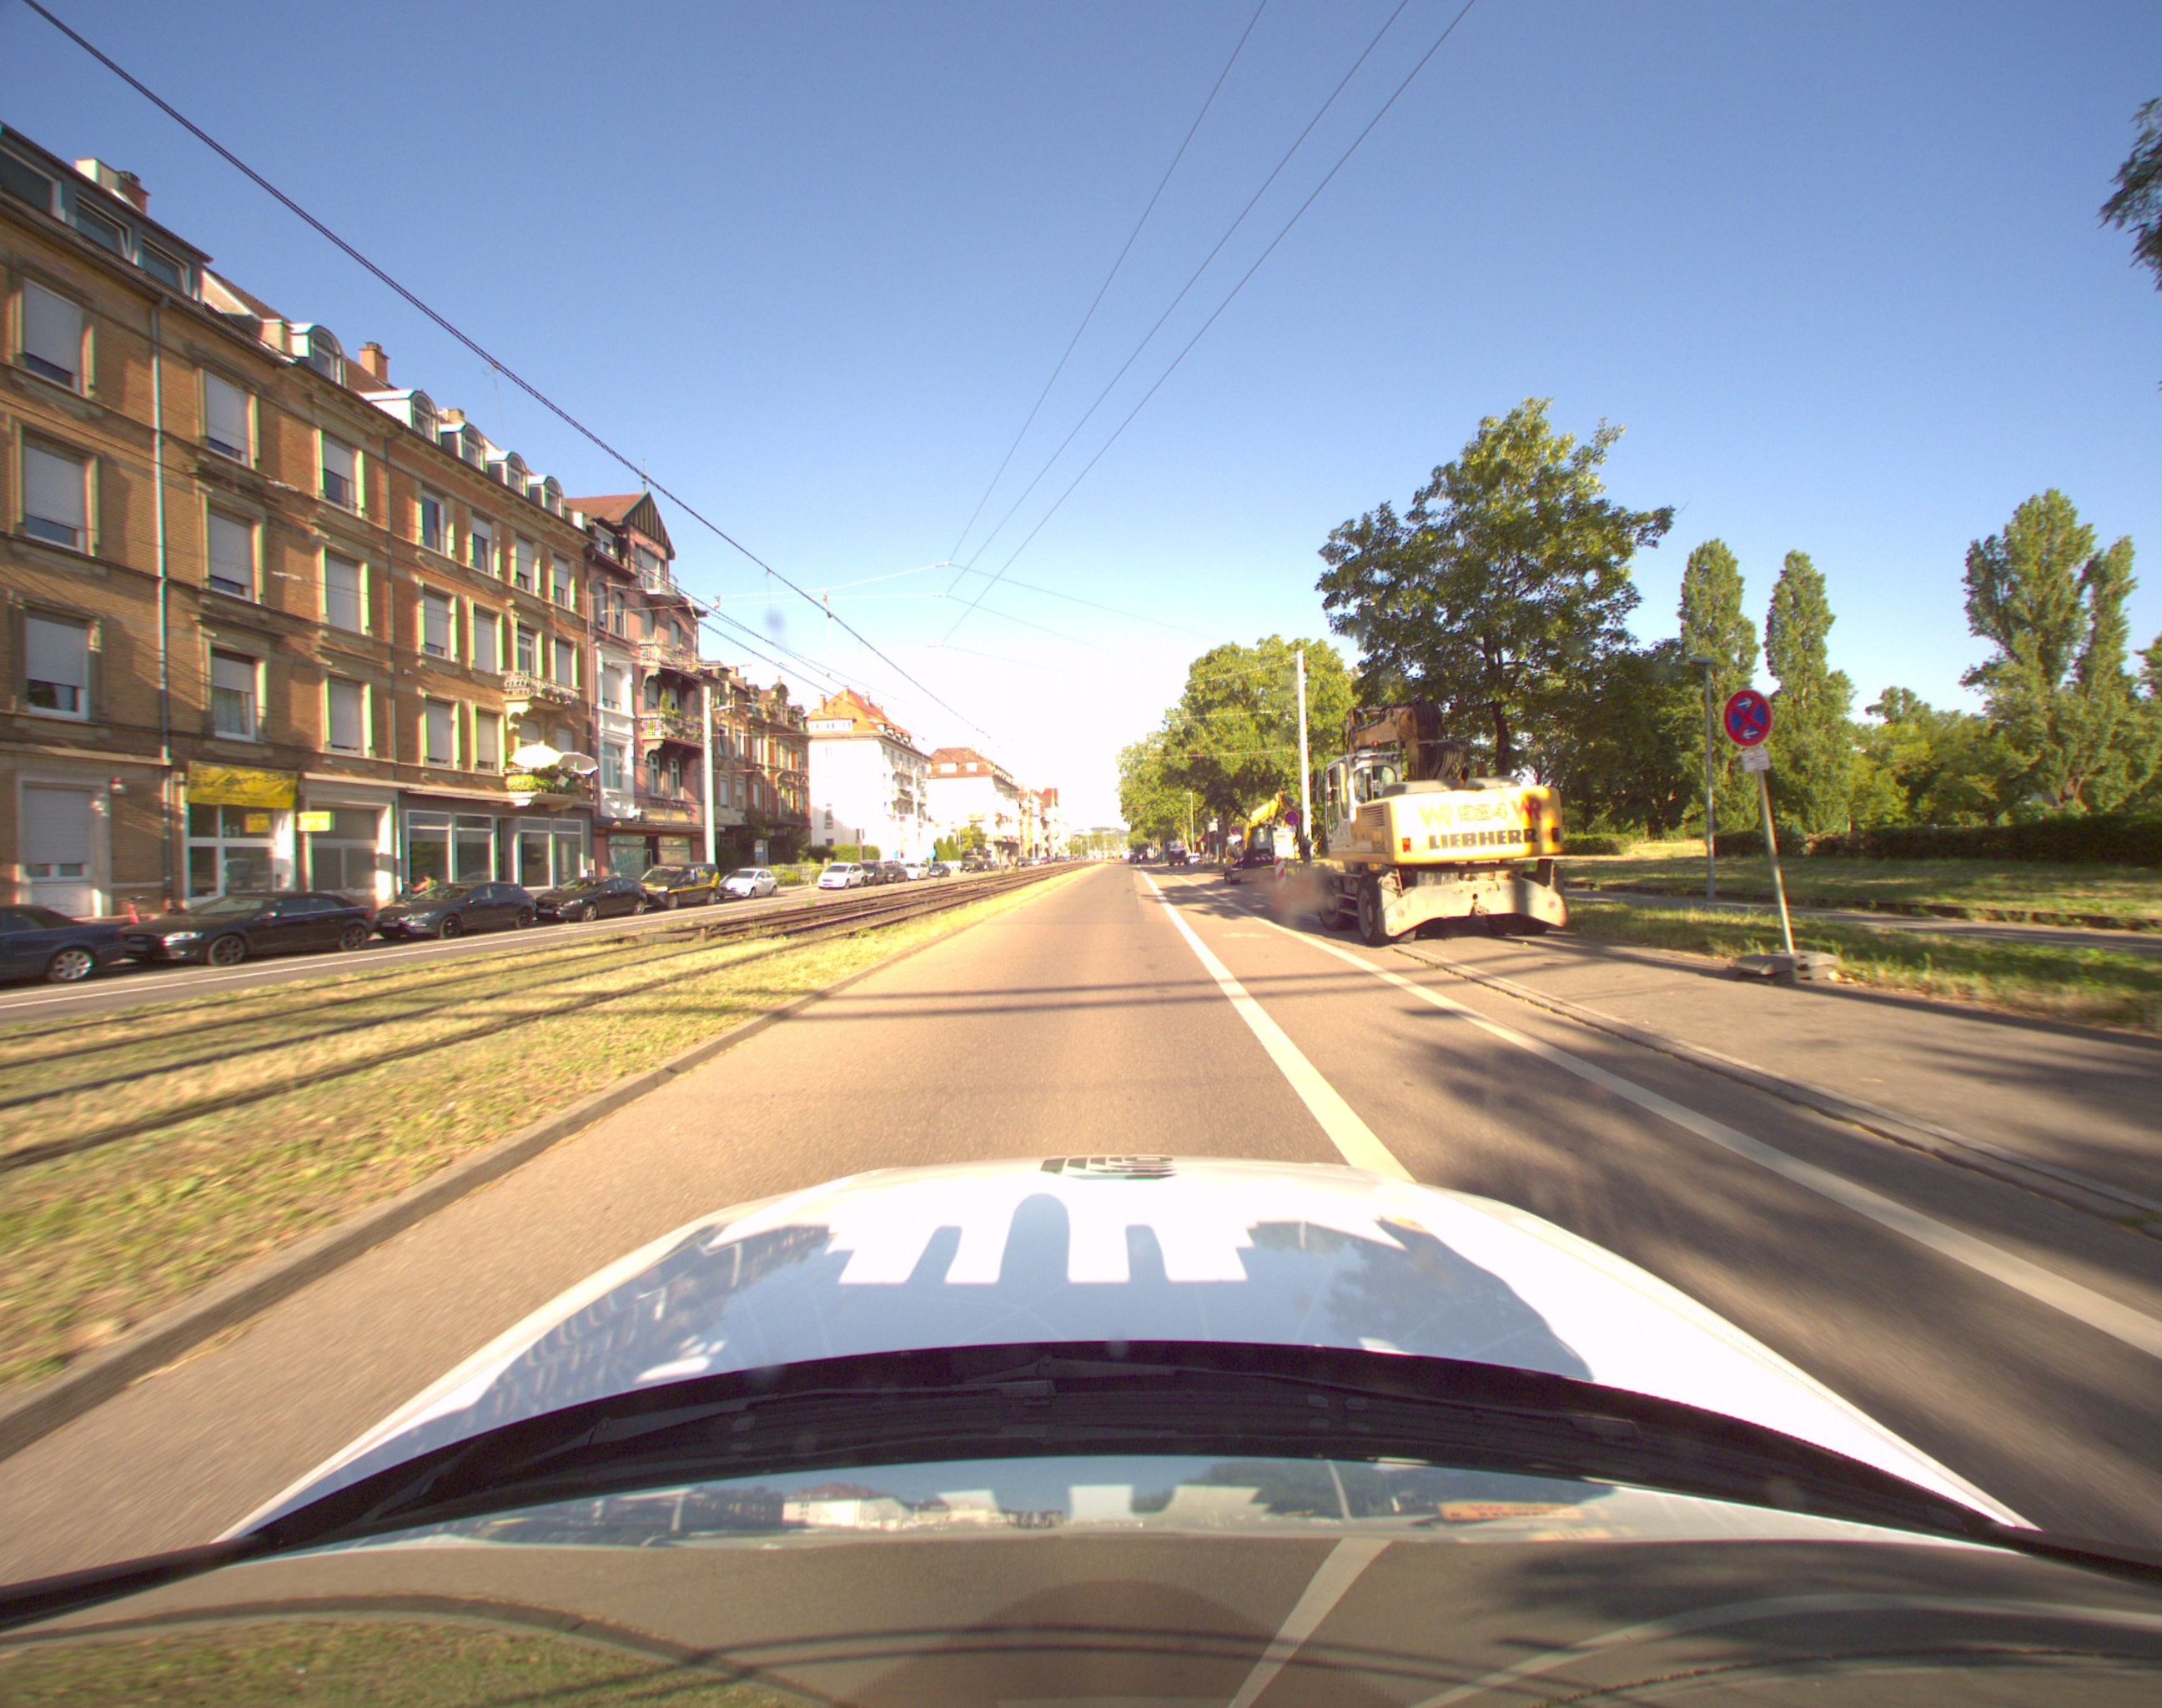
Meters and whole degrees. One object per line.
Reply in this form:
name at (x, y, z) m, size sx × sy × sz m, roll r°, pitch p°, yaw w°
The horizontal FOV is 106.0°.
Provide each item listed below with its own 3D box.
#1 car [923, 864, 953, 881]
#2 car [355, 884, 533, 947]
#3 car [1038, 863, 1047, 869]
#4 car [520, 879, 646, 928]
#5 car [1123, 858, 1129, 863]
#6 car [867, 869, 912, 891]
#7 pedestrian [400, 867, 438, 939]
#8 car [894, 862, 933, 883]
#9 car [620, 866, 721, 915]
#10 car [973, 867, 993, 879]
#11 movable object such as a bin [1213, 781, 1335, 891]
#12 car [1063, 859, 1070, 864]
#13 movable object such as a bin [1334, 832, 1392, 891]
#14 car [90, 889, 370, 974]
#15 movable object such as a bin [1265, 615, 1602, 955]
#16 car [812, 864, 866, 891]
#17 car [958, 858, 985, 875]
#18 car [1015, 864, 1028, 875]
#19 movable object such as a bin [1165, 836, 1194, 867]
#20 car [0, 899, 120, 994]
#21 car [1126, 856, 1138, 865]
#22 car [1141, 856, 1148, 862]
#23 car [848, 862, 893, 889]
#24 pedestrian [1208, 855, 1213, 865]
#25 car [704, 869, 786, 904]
car at (-13.907, 1.775, 79.544) m, size 1.913 × 1.461 × 4.844 m, roll 3°, pitch 0°, yaw 2°
car at (-17.410, 1.630, 22.532) m, size 1.652 × 1.446 × 3.984 m, roll 0°, pitch 0°, yaw 3°
car at (-8.463, 2.638, 180.184) m, size 1.828 × 1.391 × 4.033 m, roll 1°, pitch -1°, yaw -1°
car at (-16.794, 1.617, 27.712) m, size 1.652 × 1.446 × 3.984 m, roll 0°, pitch 0°, yaw 3°
car at (13.374, 1.842, 243.596) m, size 1.787 × 1.510 × 4.002 m, roll 0°, pitch -1°, yaw 3°
car at (-14.959, 1.995, 63.889) m, size 1.911 × 1.561 × 4.849 m, roll -1°, pitch 0°, yaw 6°
pedestrian at (-18.807, 1.369, 23.153) m, size 0.637 × 2.014 × 0.870 m, roll 1°, pitch -1°, yaw -26°
car at (-14.473, 1.566, 70.485) m, size 1.911 × 1.694 × 4.849 m, roll -1°, pitch 0°, yaw 6°
car at (-16.762, 1.427, 33.524) m, size 1.654 × 1.807 × 4.729 m, roll 0°, pitch 0°, yaw 1°
car at (-12.655, 2.436, 105.070) m, size 1.627 × 1.507 × 4.165 m, roll -1°, pitch -1°, yaw 5°
movable object such as a bin at (8.065, -0.694, 35.260) m, size 3.326 × 3.976 × 7.601 m, roll -5°, pitch 0°, yaw 1°
car at (-4.388, 2.321, 246.892) m, size 1.789 × 1.510 × 3.998 m, roll 1°, pitch 0°, yaw -1°
movable object such as a bin at (9.048, 0.244, 26.208) m, size 1.311 × 1.668 × 1.305 m, roll -8°, pitch -1°, yaw 7°
car at (-17.806, 1.544, 17.366) m, size 1.652 × 1.446 × 3.984 m, roll 0°, pitch 0°, yaw 3°
movable object such as a bin at (5.872, -0.962, 15.404) m, size 2.904 × 4.610 × 7.601 m, roll -5°, pitch 0°, yaw 1°
car at (-15.807, 1.506, 53.448) m, size 1.912 × 1.683 × 4.632 m, roll -1°, pitch 0°, yaw 3°
car at (-13.215, 1.499, 98.881) m, size 2.067 × 2.010 × 5.600 m, roll 0°, pitch 0°, yaw 5°
car at (-10.358, 2.616, 141.859) m, size 1.855 × 1.786 × 4.404 m, roll 0°, pitch 0°, yaw 2°
movable object such as a bin at (11.396, -0.286, 94.696) m, size 2.732 × 3.145 × 7.228 m, roll -5°, pitch 0°, yaw 4°
car at (-18.207, 1.524, 12.552) m, size 1.652 × 1.446 × 4.200 m, roll 0°, pitch 0°, yaw 3°
car at (8.658, 1.144, 138.623) m, size 1.826 × 1.391 × 4.162 m, roll -1°, pitch 0°, yaw 3°
car at (16.584, 1.377, 212.850) m, size 1.787 × 1.510 × 4.003 m, roll -1°, pitch 0°, yaw 3°
car at (-15.186, 1.531, 58.859) m, size 1.913 × 1.781 × 4.500 m, roll -1°, pitch 0°, yaw 2°
pedestrian at (22.167, 0.992, 139.774) m, size 0.606 × 1.681 × 0.636 m, roll -6°, pitch -1°, yaw 1°
car at (-16.764, 1.594, 40.892) m, size 1.912 × 1.538 × 4.632 m, roll -1°, pitch 0°, yaw 4°
